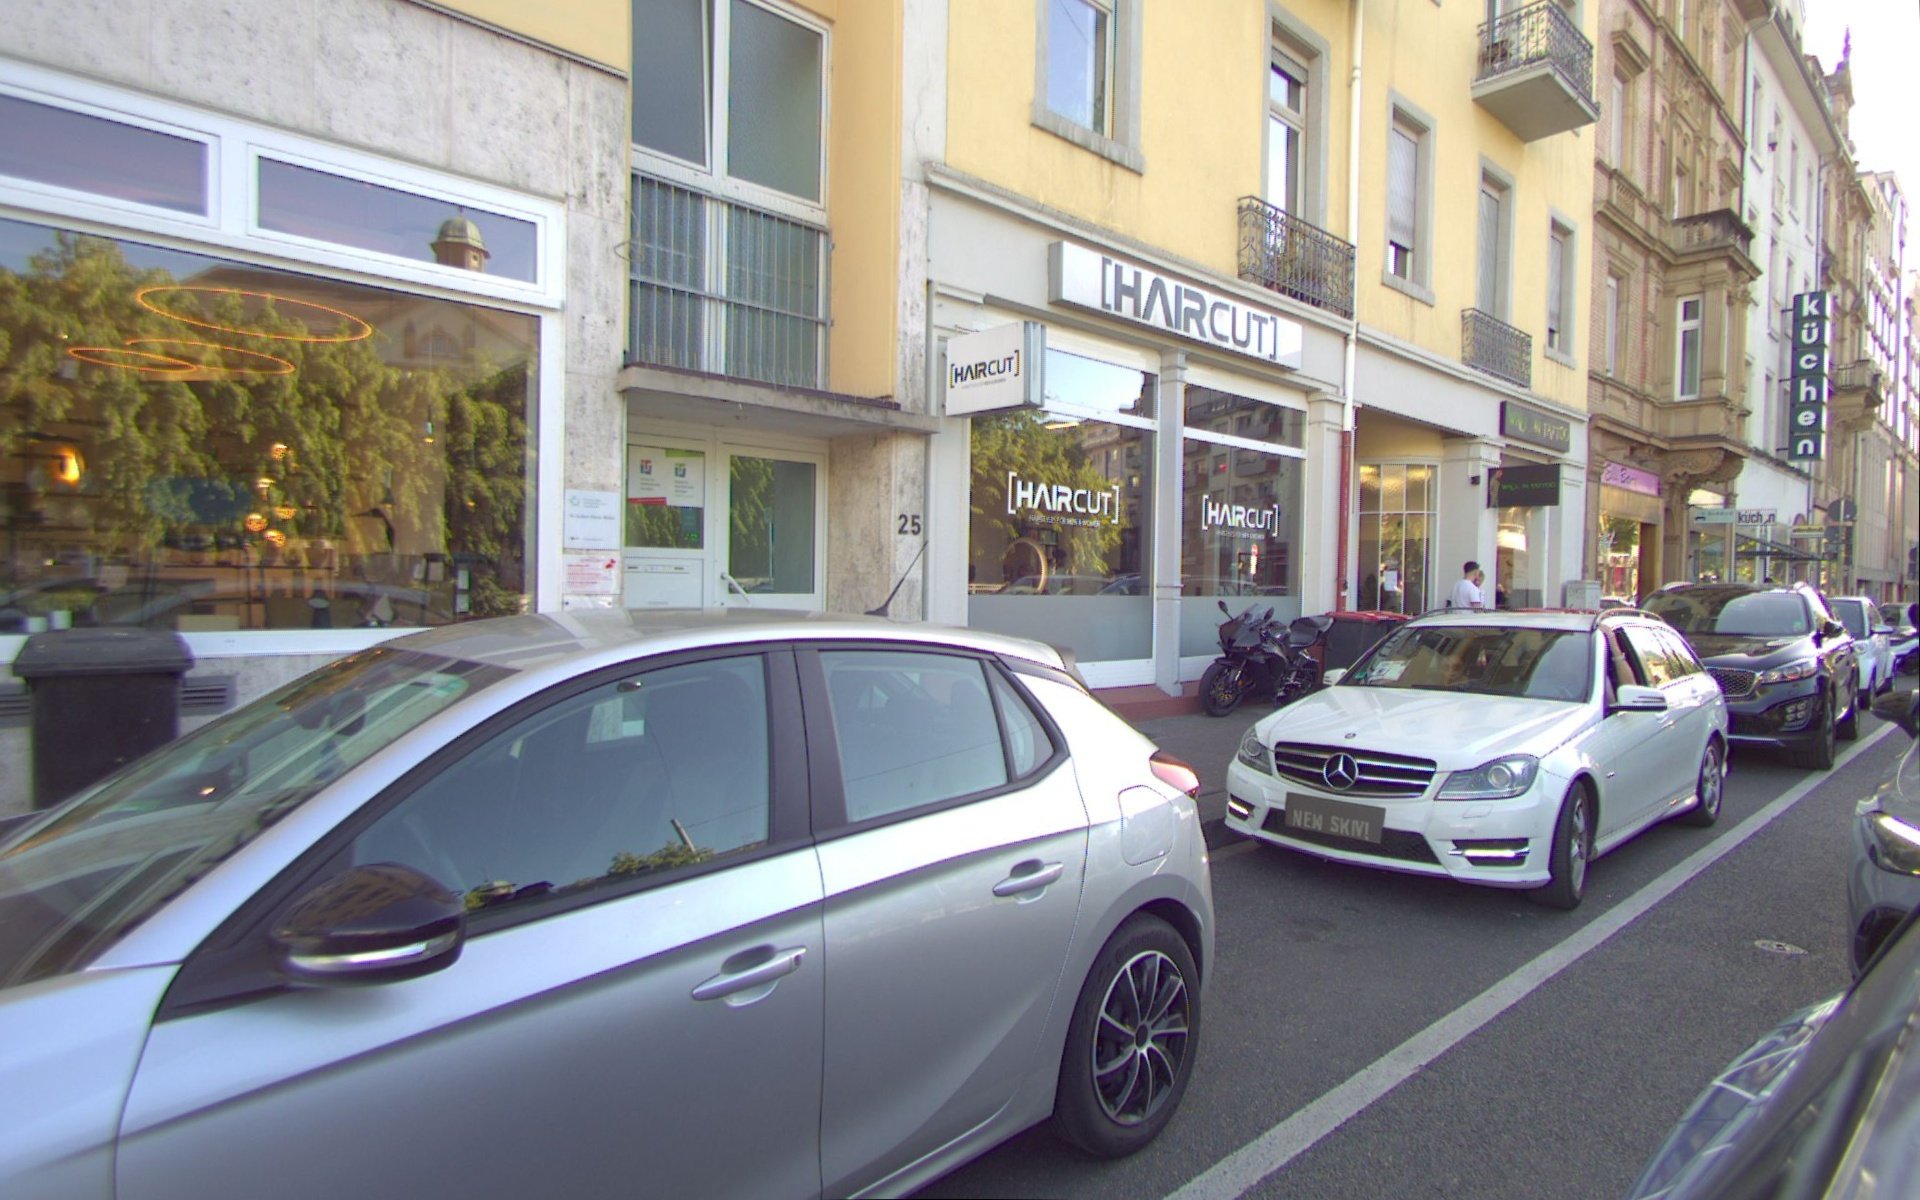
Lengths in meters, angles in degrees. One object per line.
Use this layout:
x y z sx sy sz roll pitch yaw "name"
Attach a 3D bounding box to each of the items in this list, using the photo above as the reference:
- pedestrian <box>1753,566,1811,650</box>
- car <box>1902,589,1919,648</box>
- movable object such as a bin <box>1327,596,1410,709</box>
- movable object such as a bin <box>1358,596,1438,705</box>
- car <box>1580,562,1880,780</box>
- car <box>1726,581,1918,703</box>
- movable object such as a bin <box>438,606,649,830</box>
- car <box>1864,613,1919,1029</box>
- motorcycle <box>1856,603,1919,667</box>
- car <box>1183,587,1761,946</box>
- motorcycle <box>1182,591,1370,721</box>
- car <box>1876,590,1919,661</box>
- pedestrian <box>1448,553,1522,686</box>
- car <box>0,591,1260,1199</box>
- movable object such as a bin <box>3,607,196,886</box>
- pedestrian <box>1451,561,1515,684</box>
16.389 0.146 20.178 0.750 1.637 0.794 0 1 -43 "pedestrian"
26.399 0.481 26.854 3.931 1.504 1.713 0 1 -42 "car"
4.635 0.571 11.494 0.633 1.222 0.647 0 0 -40 "movable object such as a bin"
5.145 0.564 11.883 0.633 1.222 0.647 0 0 -40 "movable object such as a bin"
7.993 0.534 10.315 1.853 1.719 4.623 1 1 45 "car"
12.657 0.528 14.824 2.965 1.587 1.695 0 1 -40 "car"
-2.272 0.580 5.519 0.878 1.066 0.752 0 1 -40 "movable object such as a bin"
5.345 0.768 4.291 4.183 1.396 1.846 0 1 -42 "car"
19.286 0.707 20.511 1.514 1.248 0.771 1 0 1 "motorcycle"
3.479 0.677 6.396 4.519 1.480 1.757 0 1 -42 "car"
3.319 0.521 10.520 2.208 1.179 0.773 0 4 -41 "motorcycle"
22.244 0.548 23.016 3.931 1.504 1.713 0 1 -42 "car"
6.730 0.235 12.973 0.689 1.637 0.641 0 0 -42 "pedestrian"
-1.034 0.699 2.313 3.642 1.415 1.652 0 1 -42 "car"
-3.696 0.564 4.374 0.591 1.041 0.812 0 1 -40 "movable object such as a bin"
7.179 0.291 13.889 0.631 1.637 0.572 0 0 -40 "pedestrian"
